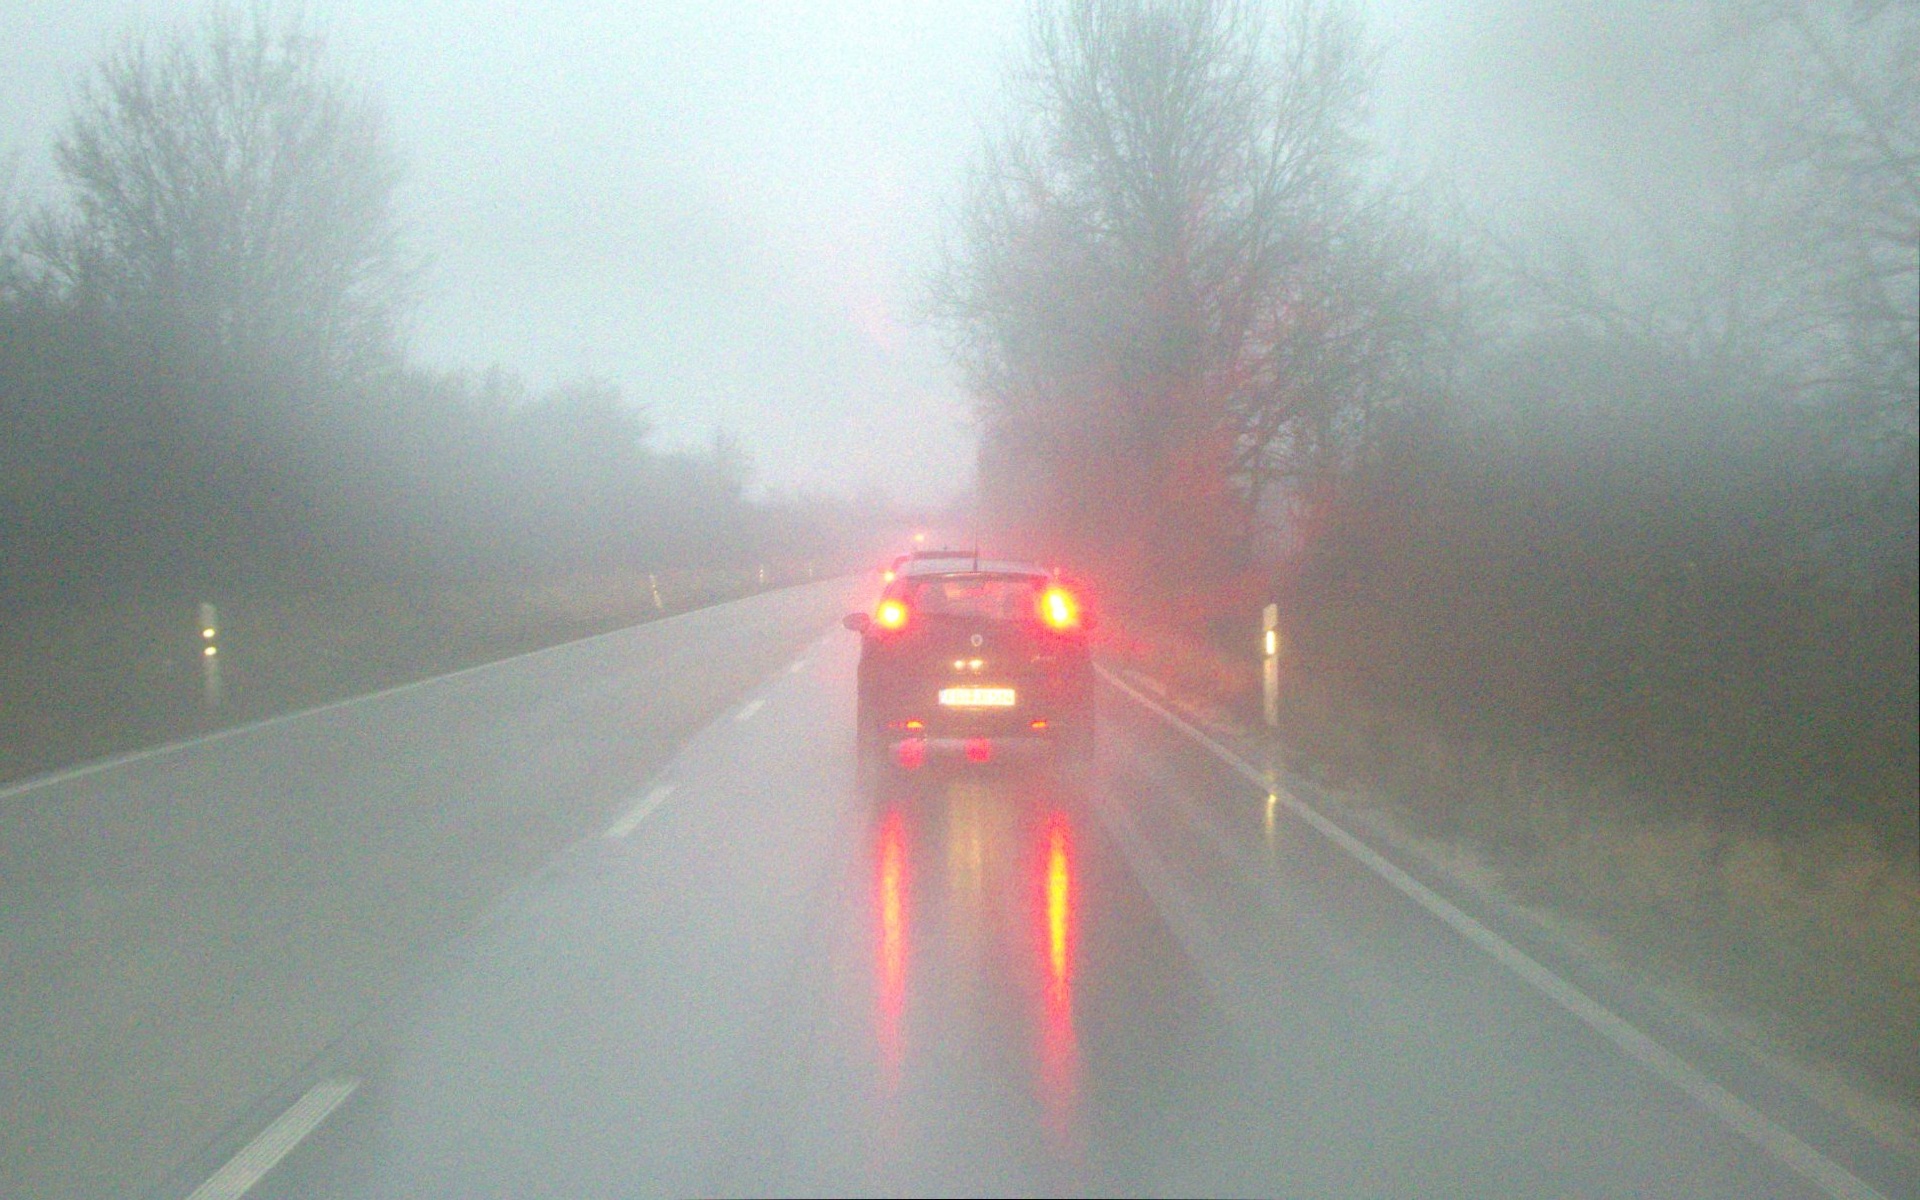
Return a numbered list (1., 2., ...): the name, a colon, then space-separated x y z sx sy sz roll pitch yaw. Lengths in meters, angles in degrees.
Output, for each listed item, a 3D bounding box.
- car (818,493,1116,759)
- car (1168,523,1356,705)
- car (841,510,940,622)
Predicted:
1. car: 0.080 0.138 25.425 1.993 1.778 4.000 1 1 1
2. car: 2.778 0.087 32.204 1.564 1.586 3.488 1 1 2
3. car: -1.189 -0.612 60.258 1.574 1.868 3.709 1 1 1
